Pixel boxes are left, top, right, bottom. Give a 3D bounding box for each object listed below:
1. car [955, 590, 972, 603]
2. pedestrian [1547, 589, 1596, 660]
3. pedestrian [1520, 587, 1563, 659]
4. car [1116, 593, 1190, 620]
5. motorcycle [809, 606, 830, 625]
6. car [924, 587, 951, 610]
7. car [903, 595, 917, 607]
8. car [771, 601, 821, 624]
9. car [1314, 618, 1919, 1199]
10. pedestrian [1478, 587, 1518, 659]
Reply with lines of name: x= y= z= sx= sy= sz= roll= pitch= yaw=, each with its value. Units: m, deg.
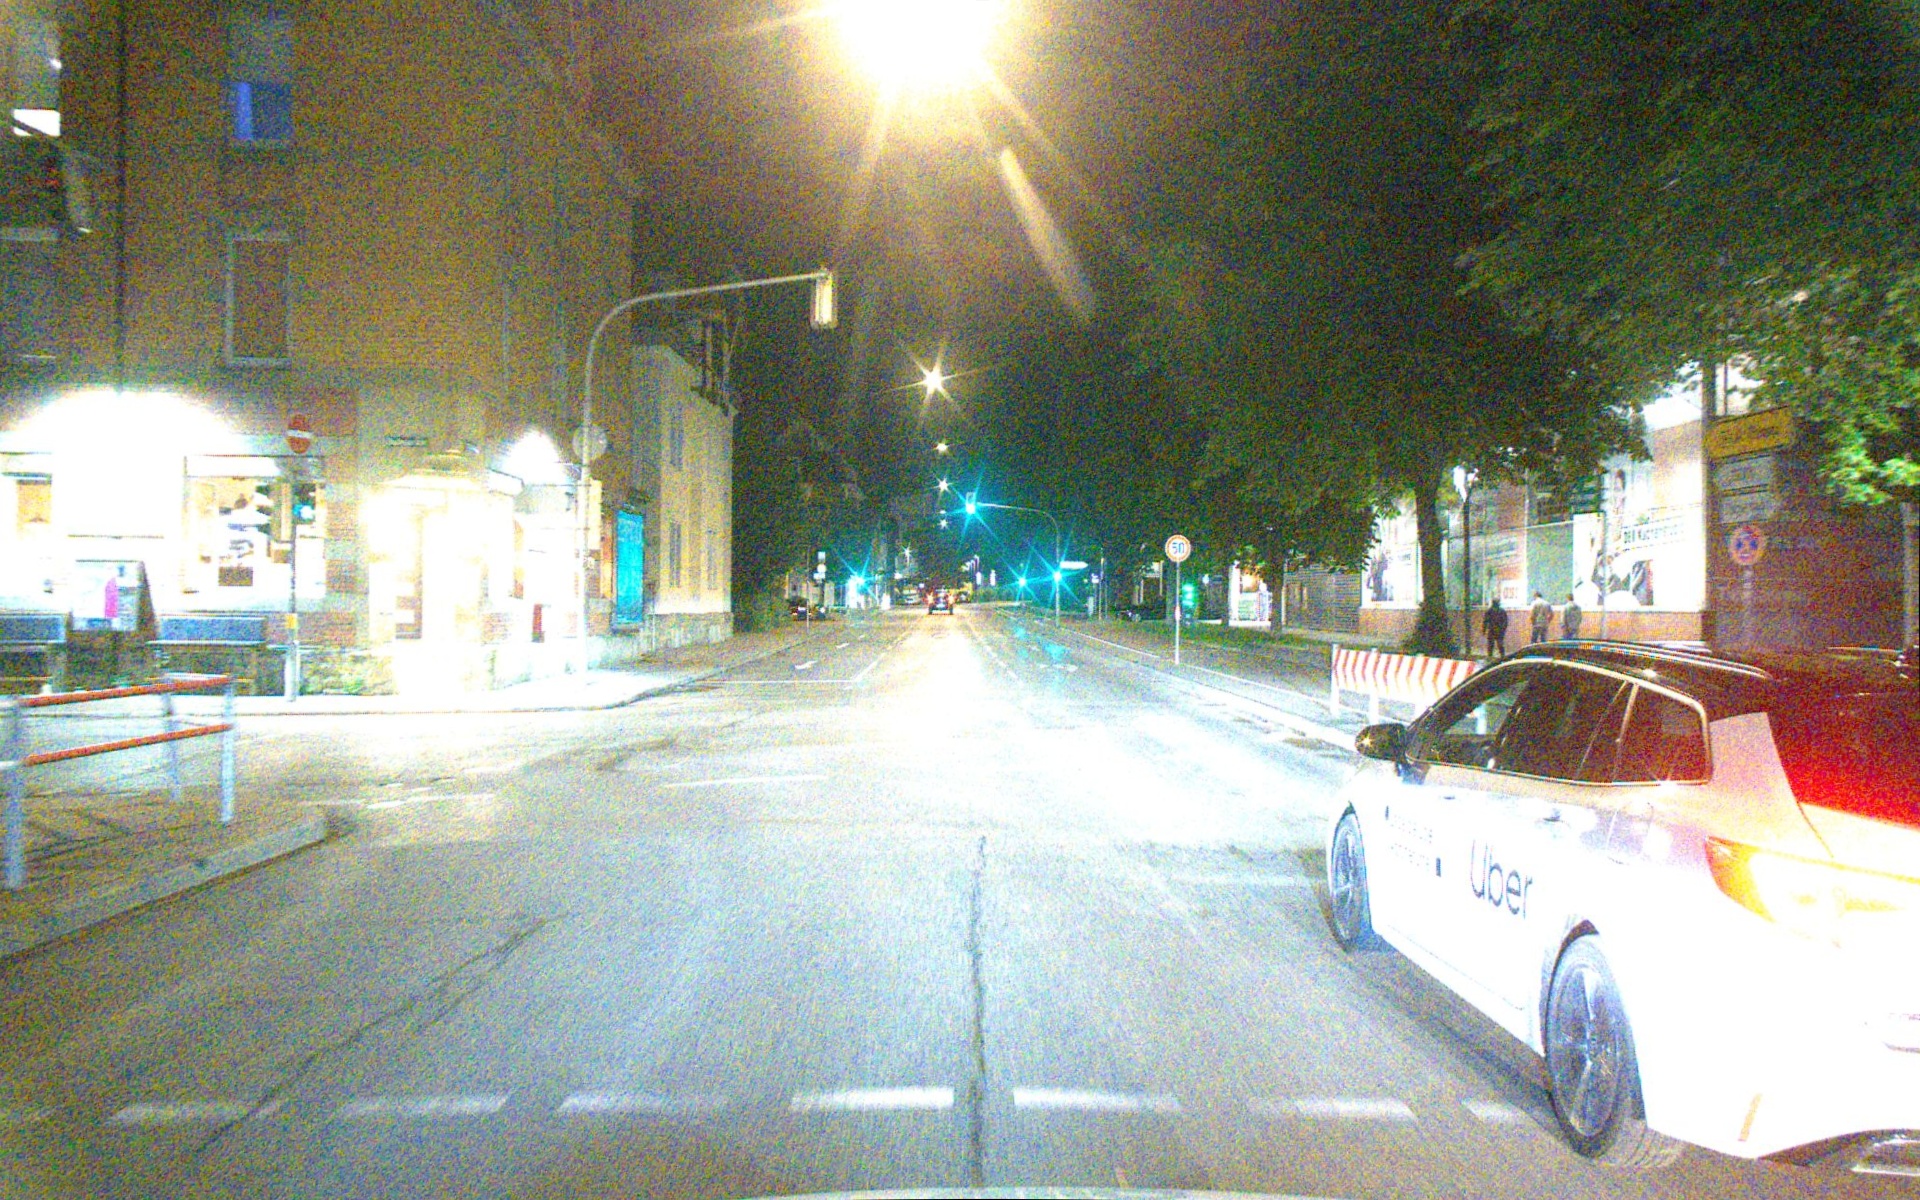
car: x=0.439 y=-0.449 z=216.968 sx=1.954 sy=1.624 sz=3.997 roll=-1 pitch=0 yaw=-3
pedestrian: x=15.720 y=0.628 z=42.540 sx=0.882 sy=1.800 sz=0.907 roll=-1 pitch=0 yaw=-1
pedestrian: x=14.733 y=0.579 z=41.924 sx=0.723 sy=1.800 sz=0.907 roll=-1 pitch=0 yaw=-1
car: x=10.472 y=0.326 z=89.971 sx=3.904 sy=1.411 sz=1.772 roll=0 pitch=0 yaw=2
motorcycle: x=-9.239 y=1.006 z=108.578 sx=0.769 sy=1.225 sz=2.436 roll=0 pitch=0 yaw=-19
car: x=-1.727 y=-0.095 z=125.880 sx=1.953 sy=1.668 sz=3.998 roll=0 pitch=0 yaw=-2
car: x=-6.122 y=0.102 z=202.312 sx=1.742 sy=1.414 sz=3.998 roll=0 pitch=0 yaw=-3
car: x=-11.045 y=0.821 z=111.343 sx=1.786 sy=1.512 sz=3.956 roll=-1 pitch=0 yaw=-32
car: x=2.598 y=0.842 z=5.698 sx=1.694 sy=1.460 sz=4.209 roll=2 pitch=0 yaw=-2
pedestrian: x=13.753 y=0.583 z=42.273 sx=0.699 sy=1.800 sz=0.907 roll=-1 pitch=0 yaw=-1
